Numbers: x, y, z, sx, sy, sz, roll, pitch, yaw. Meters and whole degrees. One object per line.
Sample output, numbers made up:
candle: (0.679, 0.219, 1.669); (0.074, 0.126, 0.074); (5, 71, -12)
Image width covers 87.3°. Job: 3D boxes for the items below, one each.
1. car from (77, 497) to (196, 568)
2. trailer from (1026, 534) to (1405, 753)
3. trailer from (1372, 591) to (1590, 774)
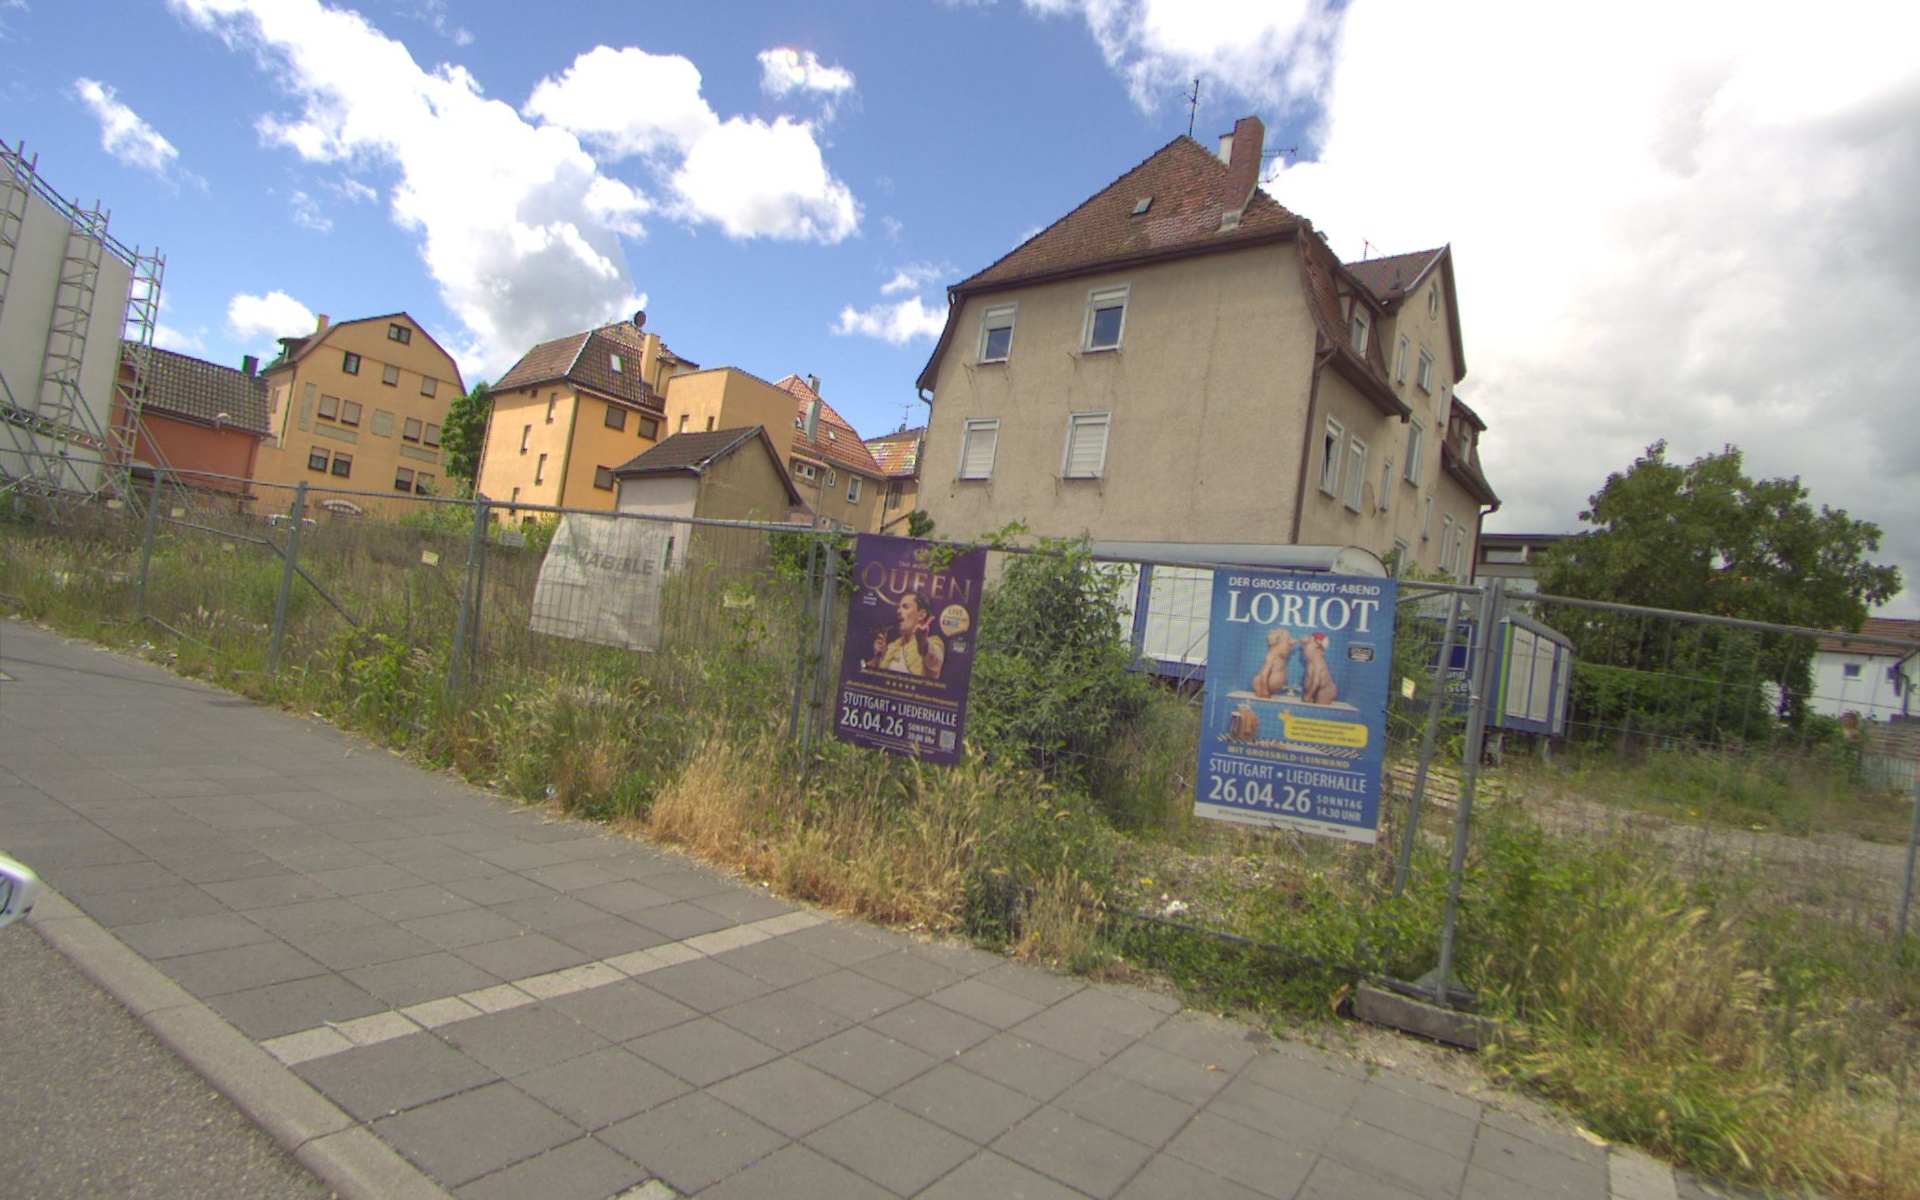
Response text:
car: (-17.095, -1.411, 20.875); (2.405, 1.134, 1.074); (8, -1, 31)
trailer: (4.442, 0.645, 18.467); (2.399, 3.157, 6.085); (10, -3, -43)
trailer: (11.368, 1.902, 21.633); (2.380, 3.156, 6.136); (7, -3, 43)
